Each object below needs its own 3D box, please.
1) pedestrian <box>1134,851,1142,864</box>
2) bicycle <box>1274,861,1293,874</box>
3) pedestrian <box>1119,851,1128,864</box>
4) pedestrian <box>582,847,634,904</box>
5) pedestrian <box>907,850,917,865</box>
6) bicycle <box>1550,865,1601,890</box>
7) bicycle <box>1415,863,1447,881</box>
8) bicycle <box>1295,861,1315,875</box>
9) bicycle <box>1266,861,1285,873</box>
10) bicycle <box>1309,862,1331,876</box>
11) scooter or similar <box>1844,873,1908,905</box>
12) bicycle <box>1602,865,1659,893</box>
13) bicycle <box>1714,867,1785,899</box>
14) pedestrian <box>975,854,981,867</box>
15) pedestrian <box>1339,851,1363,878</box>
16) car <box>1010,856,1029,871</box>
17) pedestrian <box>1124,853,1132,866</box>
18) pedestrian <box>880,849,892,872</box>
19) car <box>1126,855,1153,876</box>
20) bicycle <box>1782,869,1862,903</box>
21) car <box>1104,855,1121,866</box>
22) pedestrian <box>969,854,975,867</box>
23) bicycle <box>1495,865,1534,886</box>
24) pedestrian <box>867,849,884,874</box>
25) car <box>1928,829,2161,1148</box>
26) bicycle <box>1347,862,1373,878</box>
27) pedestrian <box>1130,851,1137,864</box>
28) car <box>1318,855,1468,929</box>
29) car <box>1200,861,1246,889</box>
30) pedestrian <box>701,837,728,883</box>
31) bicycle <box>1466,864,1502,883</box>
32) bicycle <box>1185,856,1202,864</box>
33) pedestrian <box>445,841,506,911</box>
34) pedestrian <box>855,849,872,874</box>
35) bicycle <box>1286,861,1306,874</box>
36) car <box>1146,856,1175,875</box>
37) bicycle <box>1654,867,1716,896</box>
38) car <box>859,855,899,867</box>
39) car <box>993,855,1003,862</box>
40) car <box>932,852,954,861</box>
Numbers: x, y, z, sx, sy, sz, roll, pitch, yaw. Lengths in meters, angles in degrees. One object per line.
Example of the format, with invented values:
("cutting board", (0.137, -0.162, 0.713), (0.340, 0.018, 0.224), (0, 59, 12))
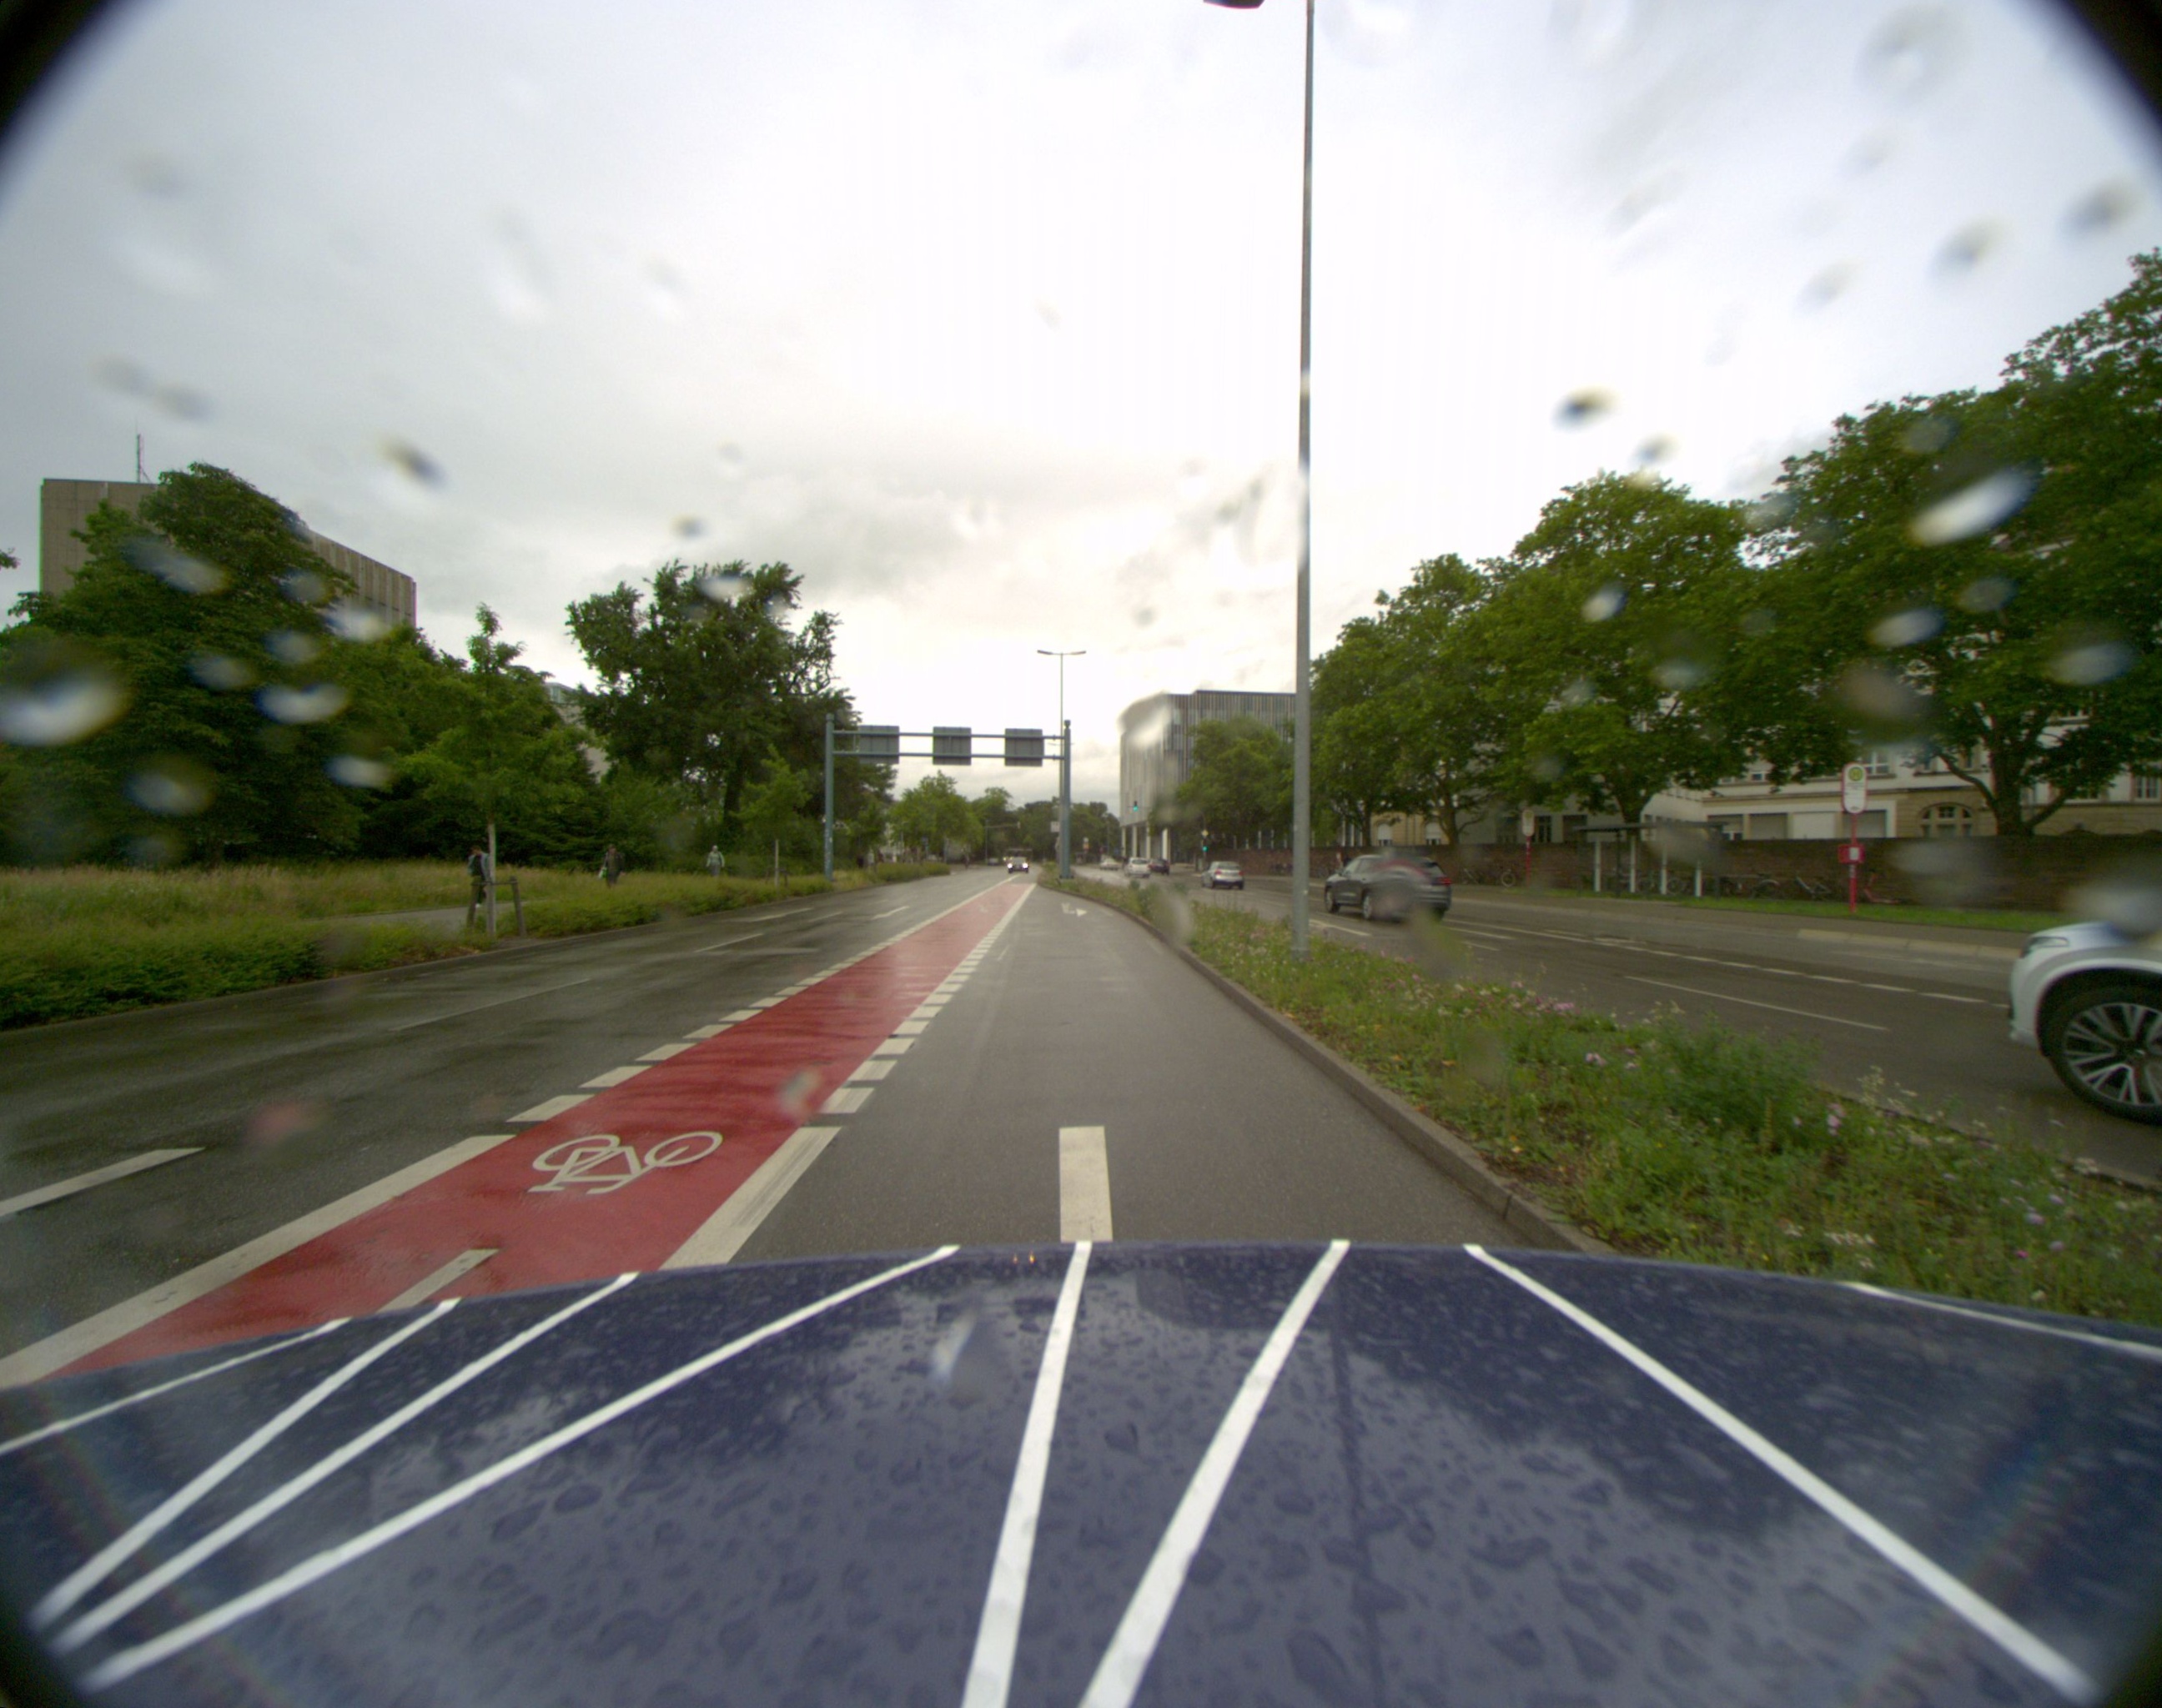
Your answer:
("pedestrian", (8.377, 0.530, 111.571), (0.941, 1.813, 0.921), (0, 0, -26))
("bicycle", (16.080, 1.055, 60.353), (0.734, 0.977, 1.699), (0, 0, -14))
("pedestrian", (6.214, 0.516, 110.826), (0.941, 1.813, 0.921), (0, 0, -33))
("pedestrian", (-14.751, 0.649, 23.700), (0.935, 1.737, 1.046), (0, 0, 4))
("pedestrian", (-18.529, 0.352, 83.169), (0.878, 1.598, 0.862), (0, 0, -25))
("bicycle", (22.769, 1.063, 35.044), (0.575, 1.129, 1.987), (0, 0, -22))
("bicycle", (19.745, 1.004, 42.897), (0.734, 0.977, 1.699), (0, 0, -14))
("bicycle", (16.638, 1.054, 56.520), (0.733, 0.977, 1.863), (0, 0, -9))
("bicycle", (15.957, 1.056, 62.373), (0.734, 0.977, 1.699), (0, 0, -14))
("bicycle", (17.222, 1.056, 54.721), (0.734, 0.977, 1.699), (0, 0, -14))
("scooter or similar", (26.749, 1.164, 25.592), (0.574, 1.040, 1.360), (0, 0, -19))
("bicycle", (23.719, 1.068, 32.825), (0.575, 1.129, 1.987), (0, 0, -22))
("bicycle", (25.293, 1.075, 28.779), (0.575, 1.129, 1.988), (0, 0, -19))
("pedestrian", (-14.387, 0.944, 105.765), (0.625, 1.814, 0.785), (0, 0, -25))
("pedestrian", (17.331, 0.672, 48.766), (0.871, 1.686, 1.399), (0, 0, -9))
("car", (-5.575, 0.862, 69.209), (1.661, 1.356, 4.105), (0, 0, -4))
("pedestrian", (6.528, 0.732, 104.826), (0.788, 1.814, 0.794), (0, 0, -26))
("pedestrian", (-15.965, 0.531, 62.115), (0.731, 1.848, 0.851), (0, 0, 4))
("car", (4.487, 0.843, 58.373), (1.683, 1.493, 3.868), (1, 0, -1))
("bicycle", (26.238, 1.103, 26.947), (0.575, 1.129, 1.988), (0, 0, -19))
("car", (4.070, 0.804, 98.252), (1.601, 1.407, 4.521), (2, 0, -5))
("pedestrian", (-15.088, 0.949, 105.139), (0.625, 1.814, 0.785), (0, 0, -17))
("bicycle", (21.656, 1.059, 38.000), (0.734, 0.977, 1.699), (0, 0, -14))
("pedestrian", (-14.268, 0.522, 52.812), (0.935, 1.710, 0.829), (-1, -2, 2))
("car", (6.622, 0.741, 2.484), (1.831, 1.672, 5.164), (2, 0, -1))
("bicycle", (18.326, 1.059, 49.925), (0.734, 0.977, 1.699), (0, 0, -14))
("pedestrian", (7.545, 0.517, 110.064), (0.788, 1.814, 0.623), (0, 1, -26))
("car", (7.985, 0.888, 20.002), (1.998, 1.626, 4.602), (2, 0, 0))
("car", (7.797, 1.104, 41.950), (1.683, 1.396, 4.157), (1, 0, -1))
("pedestrian", (-16.084, 0.256, 33.360), (0.792, 2.002, 0.829), (0, 0, 4))
("bicycle", (21.205, 1.028, 40.036), (0.734, 0.977, 1.699), (0, 0, -14))
("bicycle", (16.112, 0.885, 108.762), (2.287, 1.215, 0.598), (0, 0, -15))
("pedestrian", (-15.942, 0.562, 20.013), (0.935, 1.786, 0.829), (0, 0, 4))
("pedestrian", (-15.220, 0.535, 53.092), (0.935, 1.693, 0.829), (-1, -2, 2))
("bicycle", (16.615, 1.057, 58.702), (0.734, 0.977, 1.699), (0, 0, -14))
("car", (7.222, 1.017, 69.496), (1.814, 1.531, 4.701), (2, 0, -3))
("bicycle", (24.558, 1.097, 30.932), (0.575, 1.129, 1.988), (0, 0, -19))
("car", (-24.410, 0.798, 92.016), (4.389, 1.330, 1.771), (0, 3, -6))
("car", (-15.669, 0.869, 143.142), (1.661, 1.259, 4.105), (0, 0, -4))
("car", (-28.402, 0.437, 155.995), (4.428, 1.862, 1.636), (0, 0, -11))
